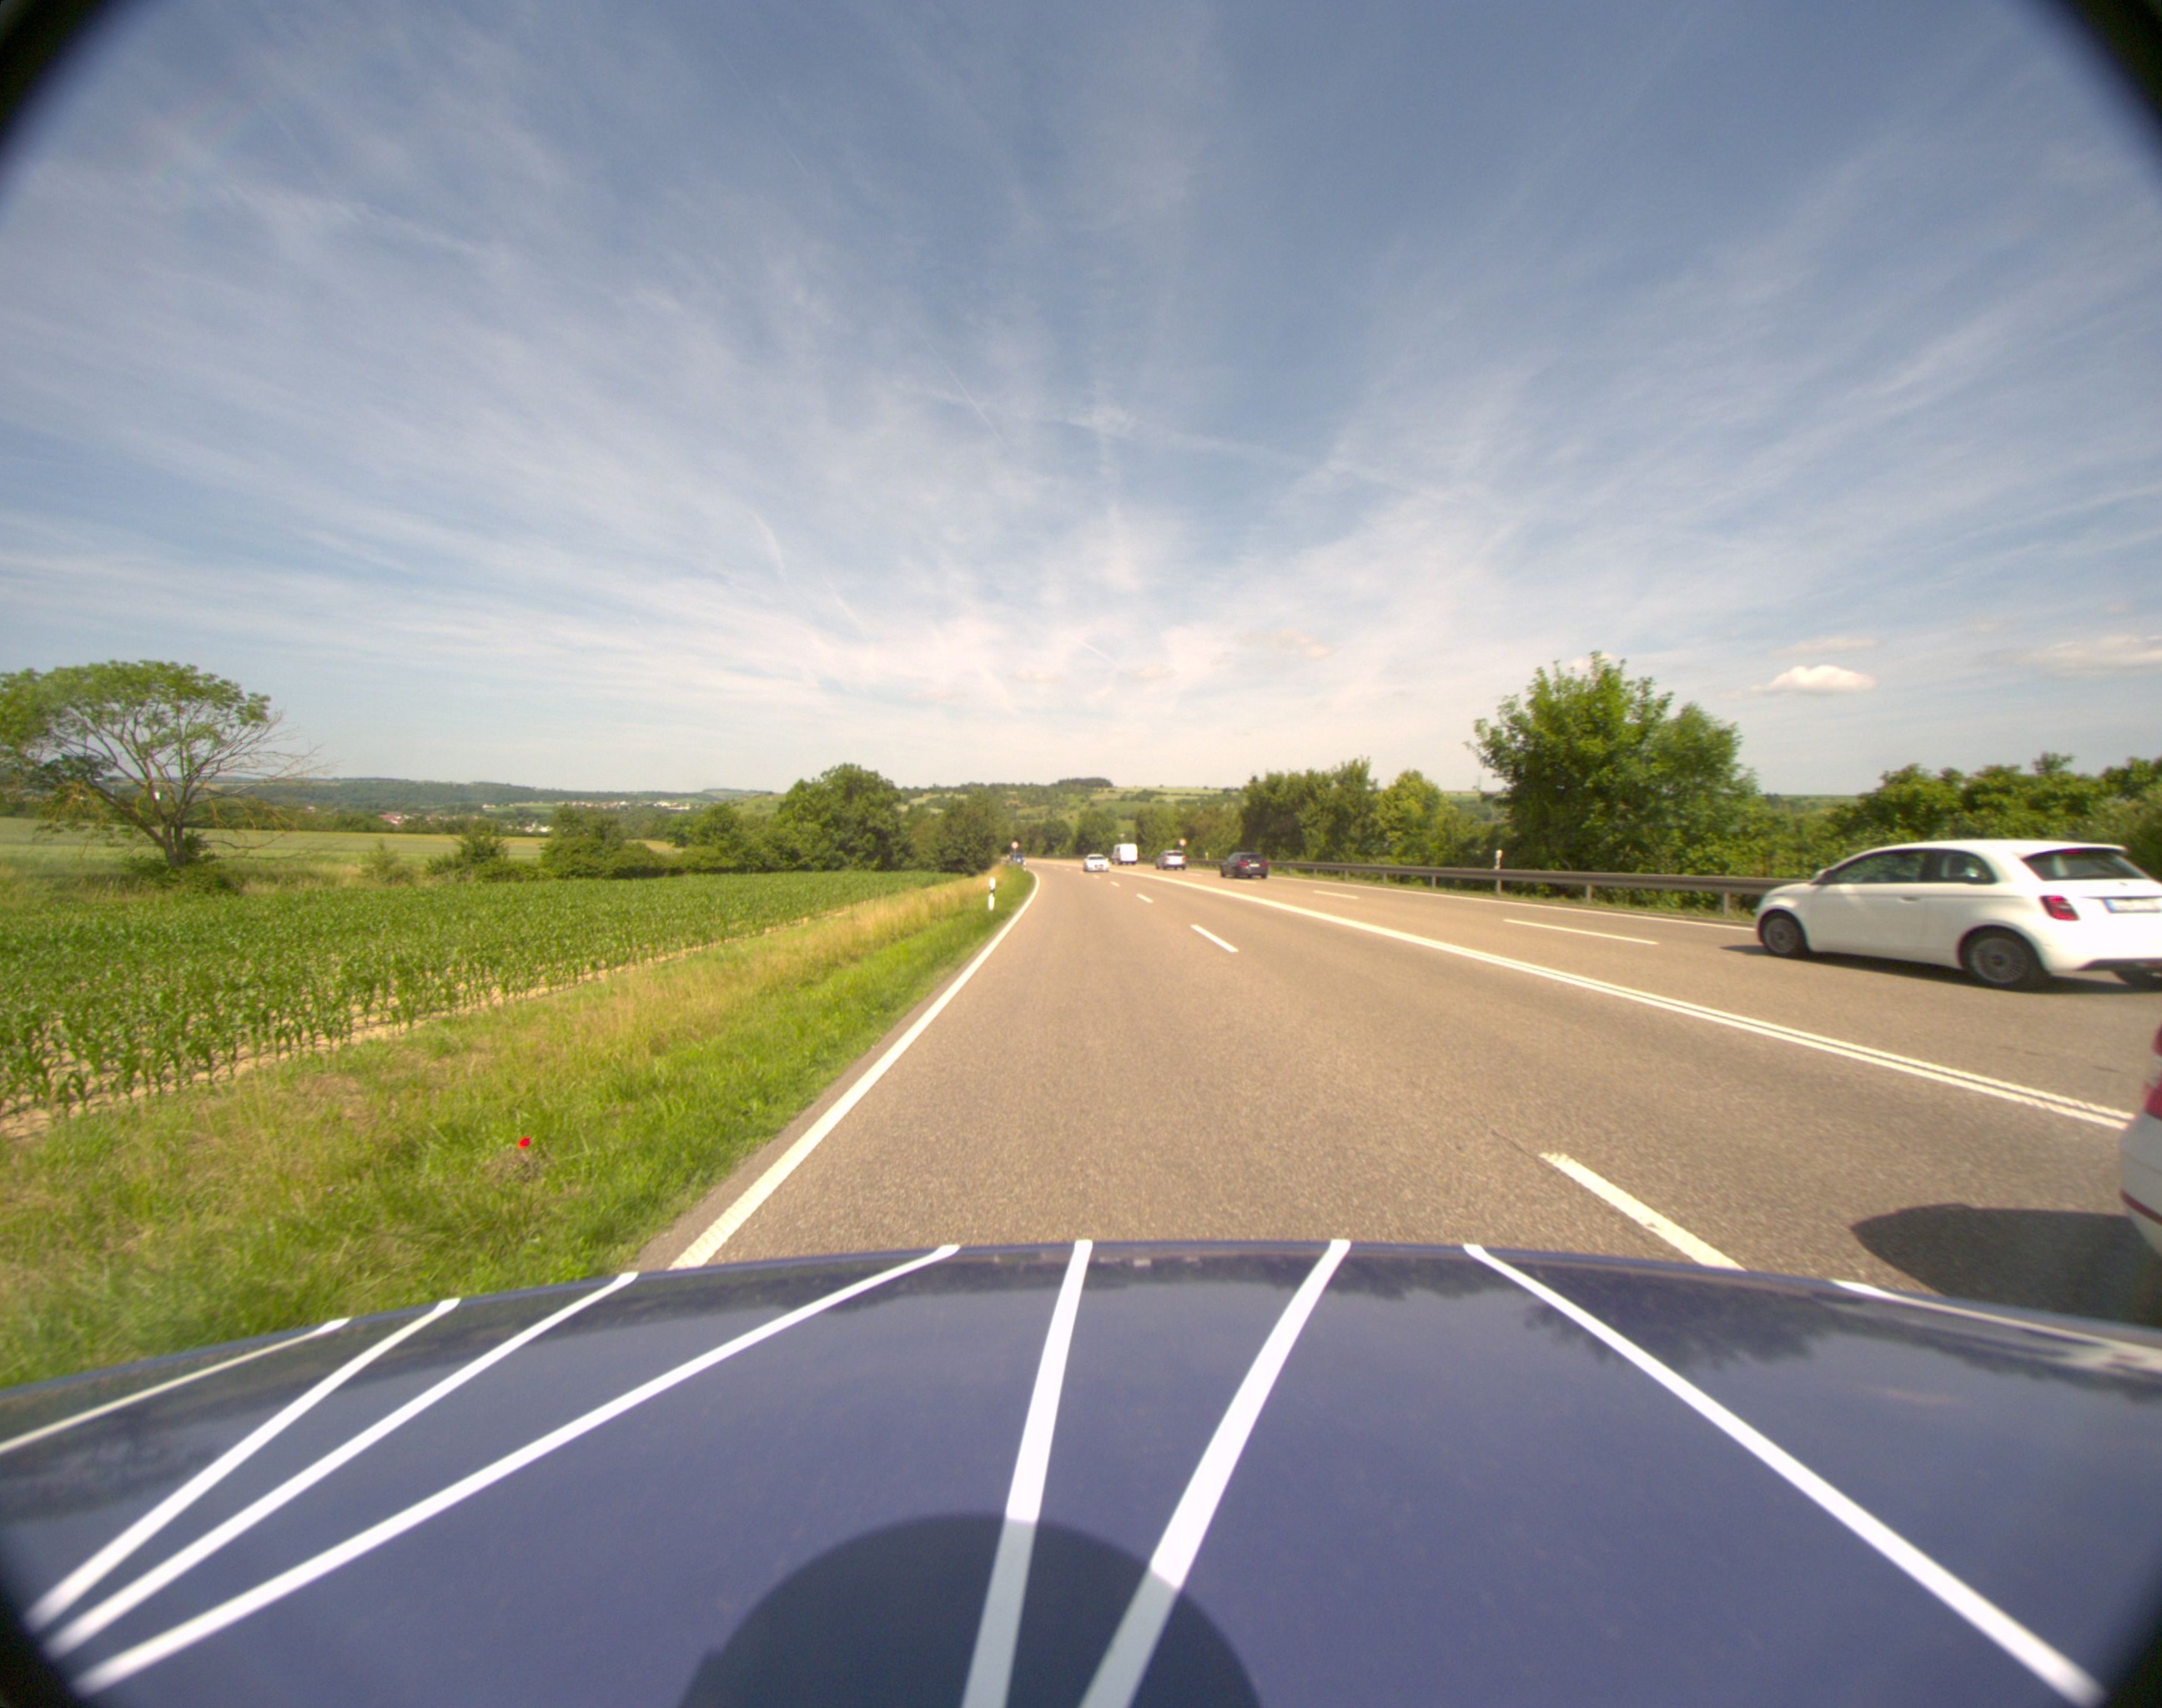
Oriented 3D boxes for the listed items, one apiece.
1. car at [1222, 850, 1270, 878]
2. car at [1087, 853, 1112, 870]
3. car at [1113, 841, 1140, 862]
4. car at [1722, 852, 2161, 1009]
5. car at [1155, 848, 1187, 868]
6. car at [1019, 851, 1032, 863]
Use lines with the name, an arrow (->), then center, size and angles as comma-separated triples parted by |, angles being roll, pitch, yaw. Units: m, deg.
car -> 9.086, 0.498, 42.096 | 1.722, 1.453, 4.214 | -1, 0, -1
car -> 1.515, 0.617, 63.785 | 1.708, 1.368, 4.601 | -1, 0, -3
car -> 5.285, -0.261, 88.631 | 2.095, 2.380, 5.840 | -1, 0, -7
car -> 9.999, 0.721, 9.037 | 1.661, 1.449, 3.734 | -1, 1, 2
car -> 7.571, 0.321, 64.222 | 1.818, 1.559, 4.681 | -1, 0, -4
car -> -7.823, 0.409, 106.909 | 1.636, 1.522, 3.913 | -4, 1, -4
